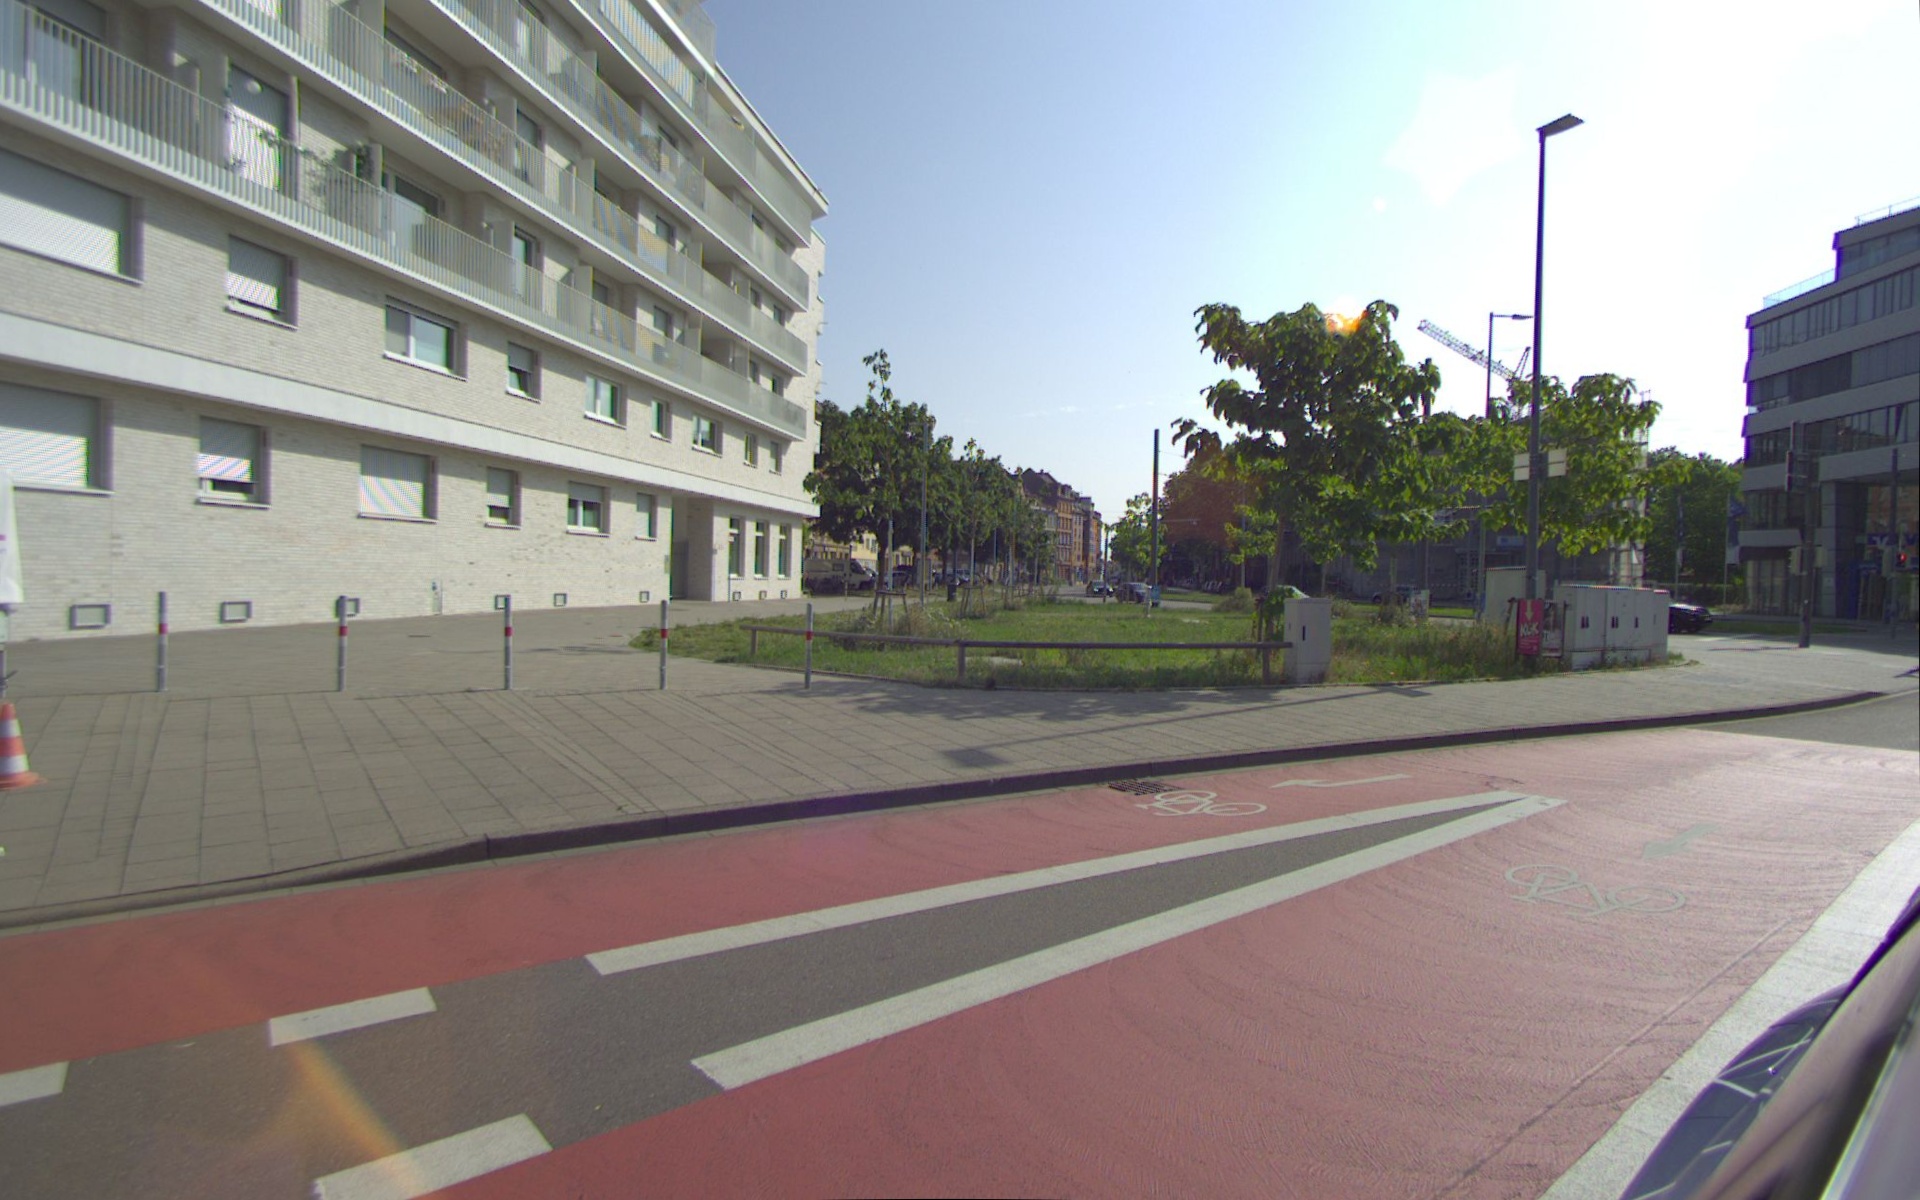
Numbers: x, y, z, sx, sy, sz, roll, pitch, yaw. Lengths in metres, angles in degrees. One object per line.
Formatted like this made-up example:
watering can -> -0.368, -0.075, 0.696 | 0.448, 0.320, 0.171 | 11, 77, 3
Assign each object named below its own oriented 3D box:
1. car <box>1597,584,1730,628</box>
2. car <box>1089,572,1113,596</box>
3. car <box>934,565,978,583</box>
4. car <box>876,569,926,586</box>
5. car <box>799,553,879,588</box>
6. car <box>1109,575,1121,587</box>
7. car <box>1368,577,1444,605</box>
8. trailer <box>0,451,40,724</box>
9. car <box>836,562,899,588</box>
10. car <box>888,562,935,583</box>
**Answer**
car -> 29.606, 0.218, 42.707 | 1.766, 1.699, 4.228 | 1, 1, -28
car -> 12.328, -1.428, 88.177 | 1.968, 2.038, 3.990 | 1, 1, 10
car -> -0.468, -2.938, 116.318 | 4.827, 1.861, 1.724 | 2, 1, -30
car -> -4.913, -1.878, 84.338 | 3.776, 1.264, 1.725 | 1, 1, -25
car -> -7.934, -1.916, 66.310 | 4.940, 2.205, 1.884 | 1, 1, -18
car -> 27.381, -3.389, 178.342 | 1.966, 2.003, 3.994 | 0, 3, 7
car -> 30.861, -0.667, 70.154 | 1.915, 1.805, 4.826 | -1, 3, -23
trailer -> -10.281, -0.122, 6.629 | 5.824, 2.178, 2.402 | 1, 1, -16
car -> -6.361, -1.706, 69.838 | 3.902, 1.727, 1.884 | 1, 1, -25
car -> -4.302, -2.435, 90.189 | 3.775, 1.828, 1.790 | 1, 1, -23
